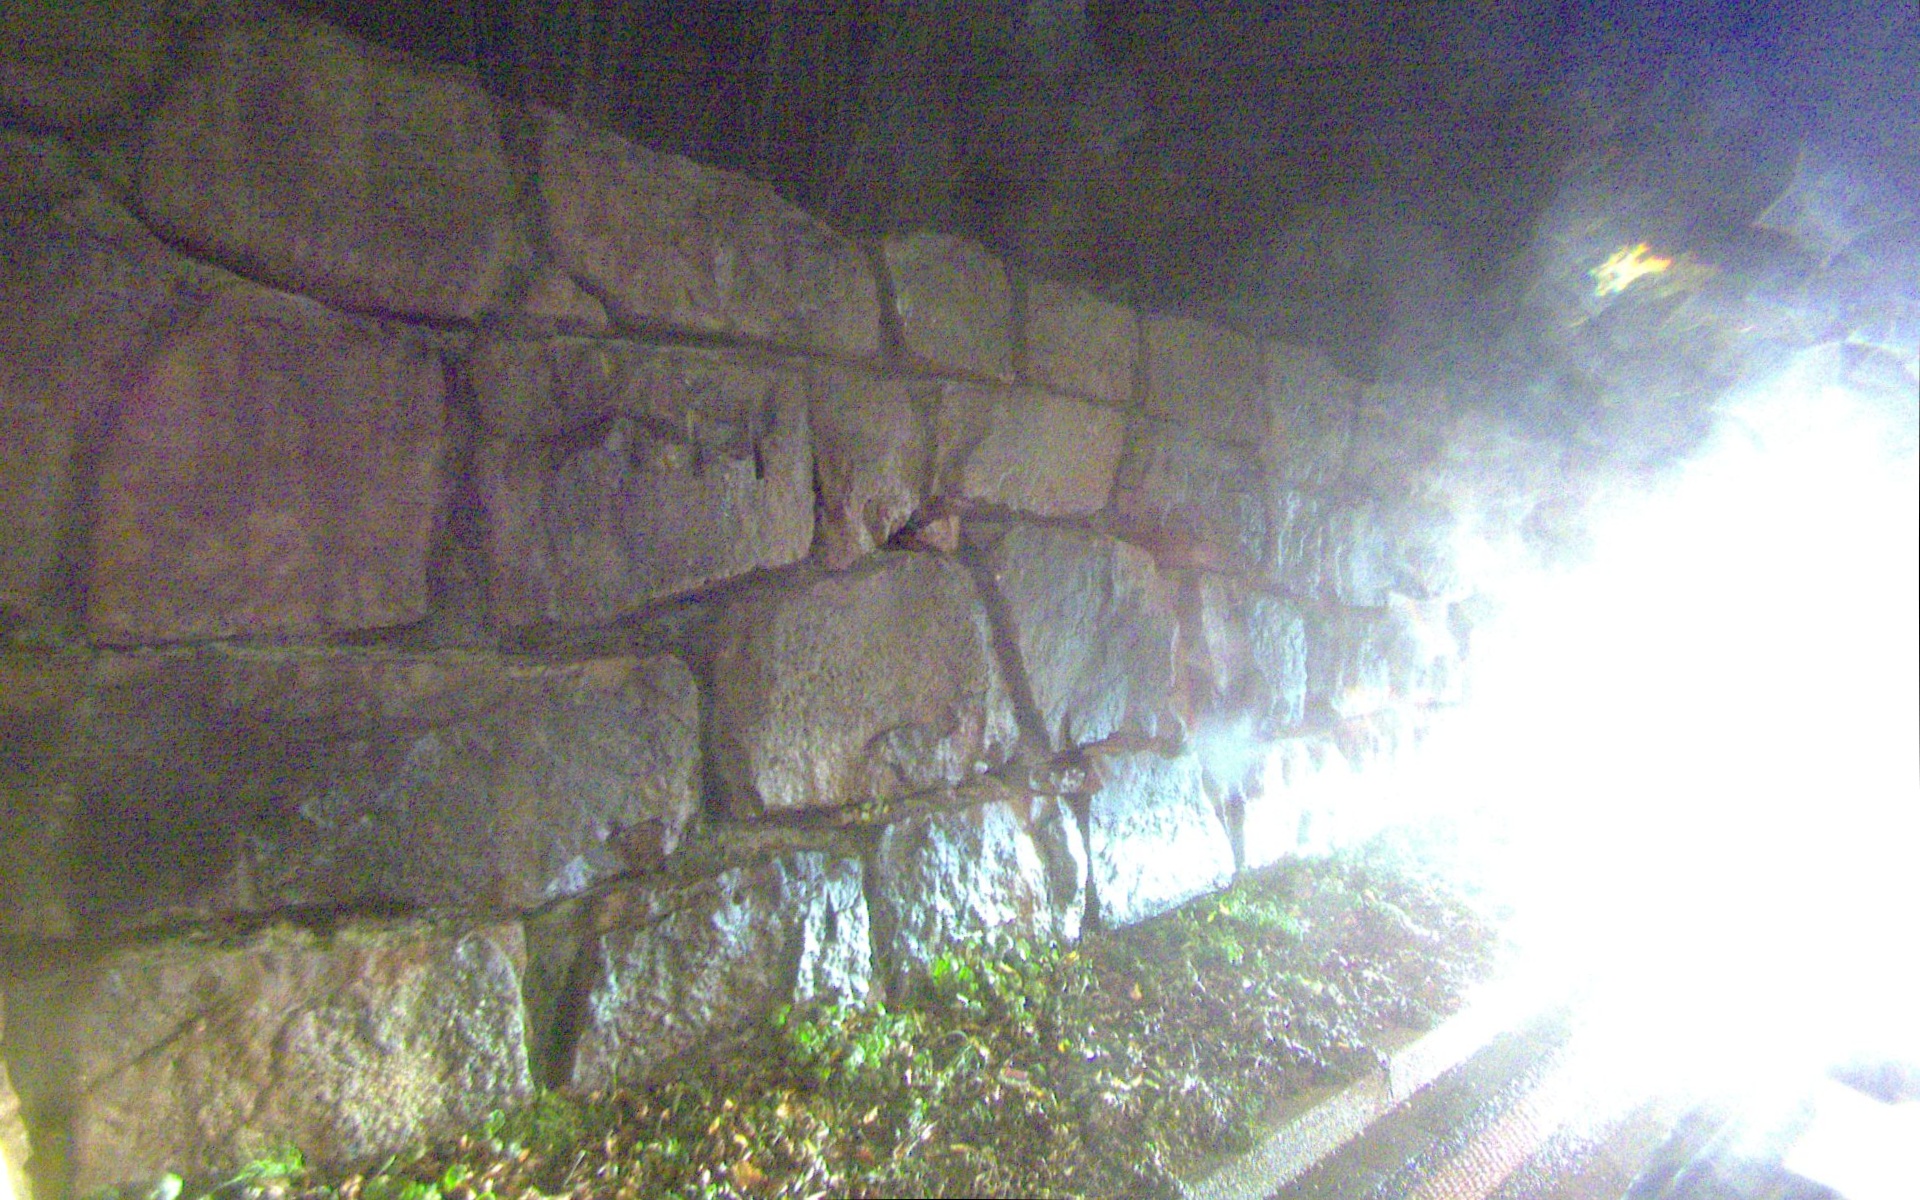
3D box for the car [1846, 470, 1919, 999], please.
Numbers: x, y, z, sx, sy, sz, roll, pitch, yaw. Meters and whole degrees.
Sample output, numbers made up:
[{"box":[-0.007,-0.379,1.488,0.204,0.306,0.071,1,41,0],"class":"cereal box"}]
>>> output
[{"box":[5.445,0.479,4.235,4.128,1.858,1.877,0,1,-38],"class":"car"}]
